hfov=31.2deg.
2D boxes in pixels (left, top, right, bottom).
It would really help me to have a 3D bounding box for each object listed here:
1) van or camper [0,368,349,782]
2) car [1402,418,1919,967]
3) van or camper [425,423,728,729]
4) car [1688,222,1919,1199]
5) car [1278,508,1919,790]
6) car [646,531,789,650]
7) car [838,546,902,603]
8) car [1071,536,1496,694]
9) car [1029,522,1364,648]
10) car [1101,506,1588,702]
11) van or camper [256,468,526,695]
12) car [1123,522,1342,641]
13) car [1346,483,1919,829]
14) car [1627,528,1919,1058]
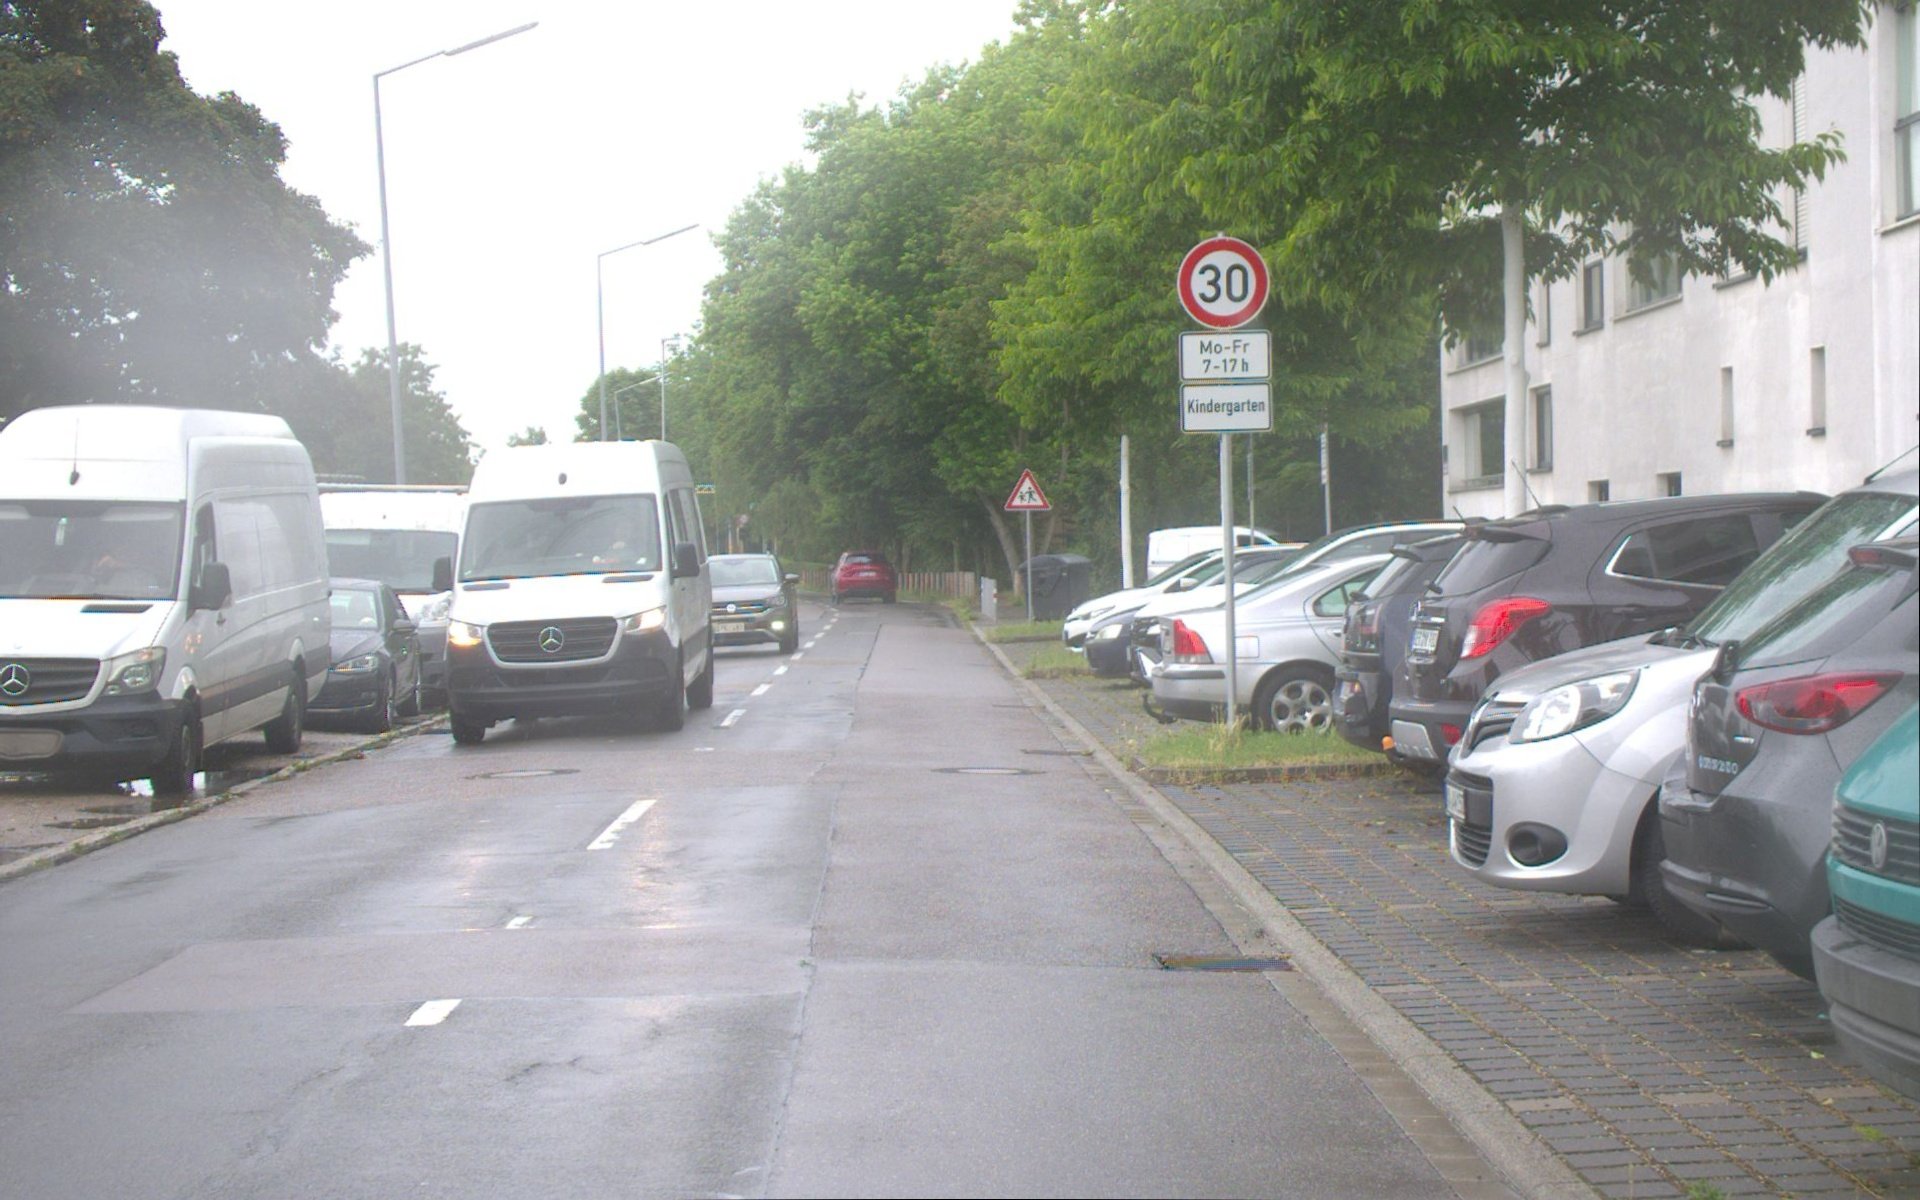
[{"bbox_3d":[-6.457,-0.212,26.890,1.993,2.752,7.898,1,1,-1],"label":"van or camper"},{"bbox_3d":[3.841,0.278,12.943,4.093,1.888,1.726,-2,1,0],"label":"car"},{"bbox_3d":[-3.419,-0.241,32.055,1.993,2.488,7.178,-1,1,0],"label":"van or camper"},{"bbox_3d":[4.187,0.217,7.815,4.617,2.012,1.858,-1,1,-2],"label":"car"},{"bbox_3d":[4.046,0.267,20.966,3.882,1.595,1.864,-1,1,-6],"label":"car"},{"bbox_3d":[-3.699,-0.167,53.044,1.881,1.751,4.068,-1,1,0],"label":"car"},{"bbox_3d":[-2.771,-0.780,106.277,1.756,1.700,4.000,-1,0,1],"label":"car"},{"bbox_3d":[3.465,0.146,37.416,4.387,1.628,2.005,-1,1,-1],"label":"car"},{"bbox_3d":[3.085,-0.211,45.248,4.091,1.569,1.868,-1,1,-8],"label":"car"},{"bbox_3d":[3.615,0.028,32.911,4.387,1.770,2.005,-1,1,-1],"label":"car"},{"bbox_3d":[-6.620,-0.233,40.750,2.189,2.453,6.377,1,1,-1],"label":"van or camper"},{"bbox_3d":[5.401,-0.380,68.115,3.991,2.285,1.775,1,1,20],"label":"car"},{"bbox_3d":[4.112,0.248,17.820,3.882,1.675,1.864,0,1,-6],"label":"car"},{"bbox_3d":[3.774,0.517,10.316,3.254,1.477,1.317,0,1,-2],"label":"car"}]
